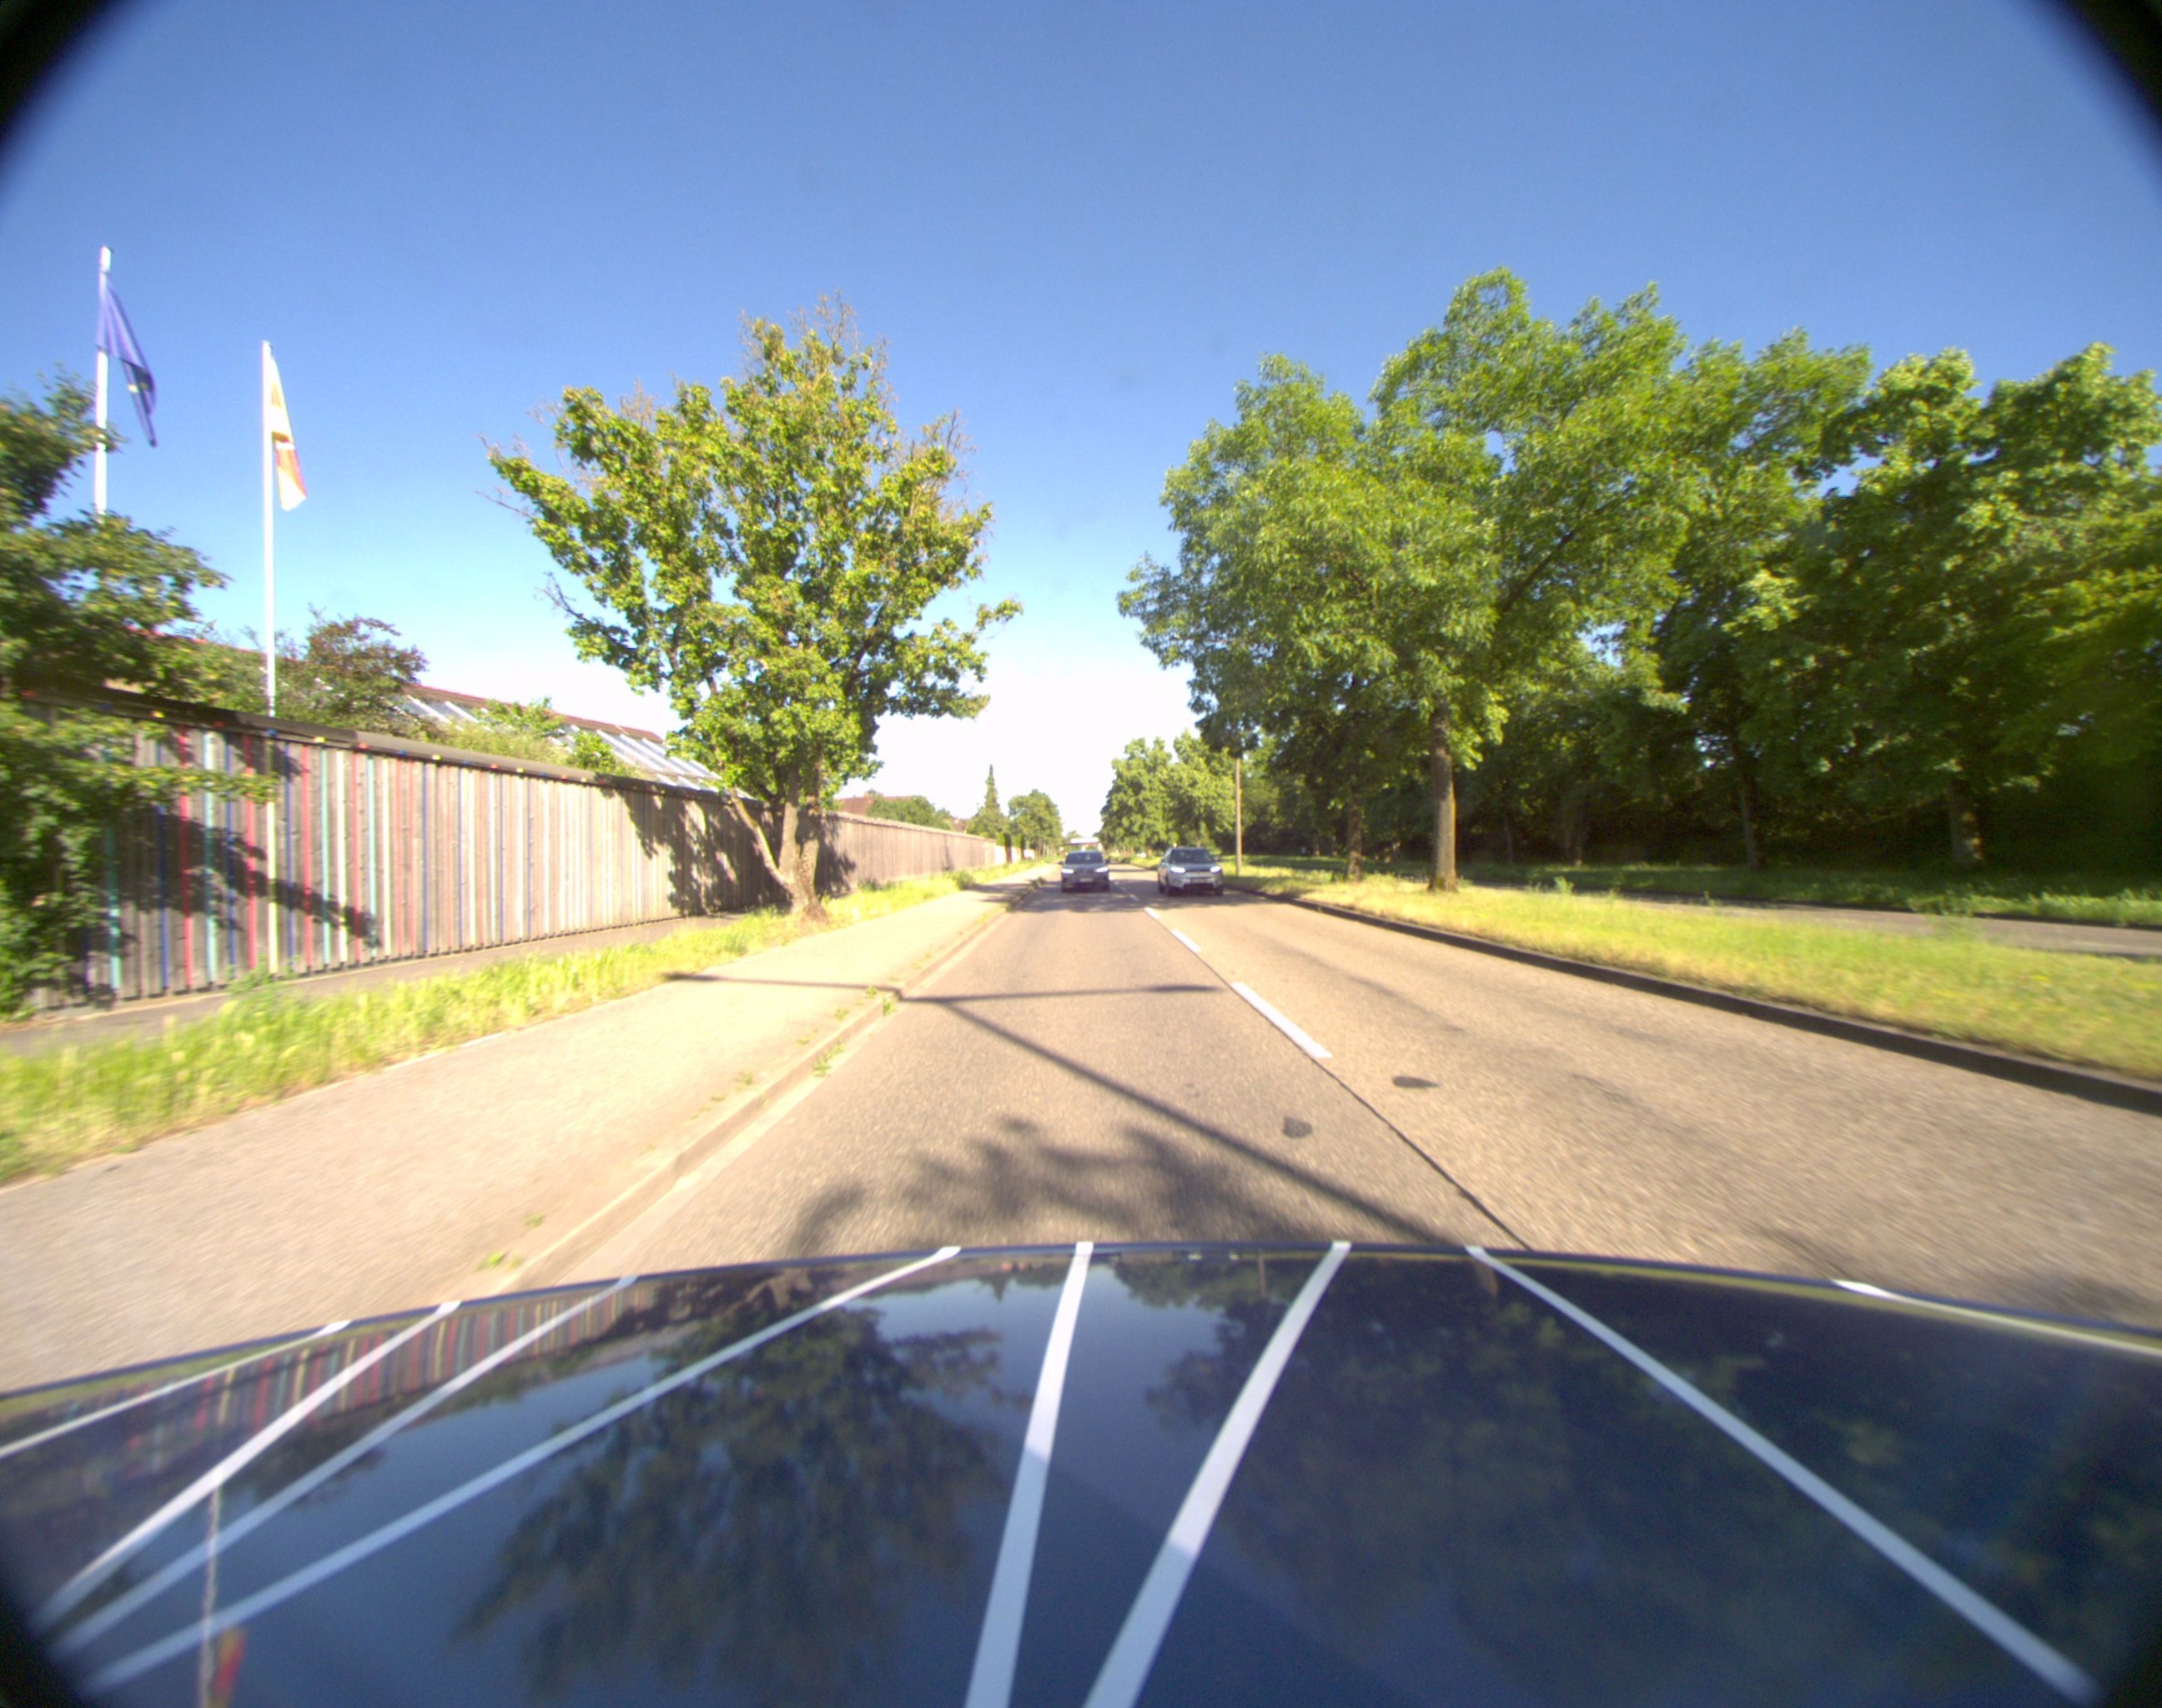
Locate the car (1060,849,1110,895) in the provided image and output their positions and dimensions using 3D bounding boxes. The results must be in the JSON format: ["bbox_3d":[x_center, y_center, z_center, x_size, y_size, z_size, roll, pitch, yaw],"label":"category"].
[{"bbox_3d":[0.157,0.664,30.524,1.766,1.606,4.297,-3,0,0],"label":"car"}]

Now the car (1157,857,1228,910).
[{"bbox_3d":[3.682,0.929,25.659,1.789,1.600,4.106,-1,0,0],"label":"car"}]

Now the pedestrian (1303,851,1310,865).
[{"bbox_3d":[27.912,0.462,94.035,0.682,1.650,0.680,-4,2,11],"label":"pedestrian"}]

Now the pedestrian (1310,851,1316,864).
[{"bbox_3d":[28.694,0.416,93.928,0.560,1.650,0.541,-3,1,10],"label":"pedestrian"}]

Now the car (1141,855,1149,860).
[{"bbox_3d":[16.902,0.957,202.054,1.730,1.448,4.345,-1,0,0],"label":"car"}]
